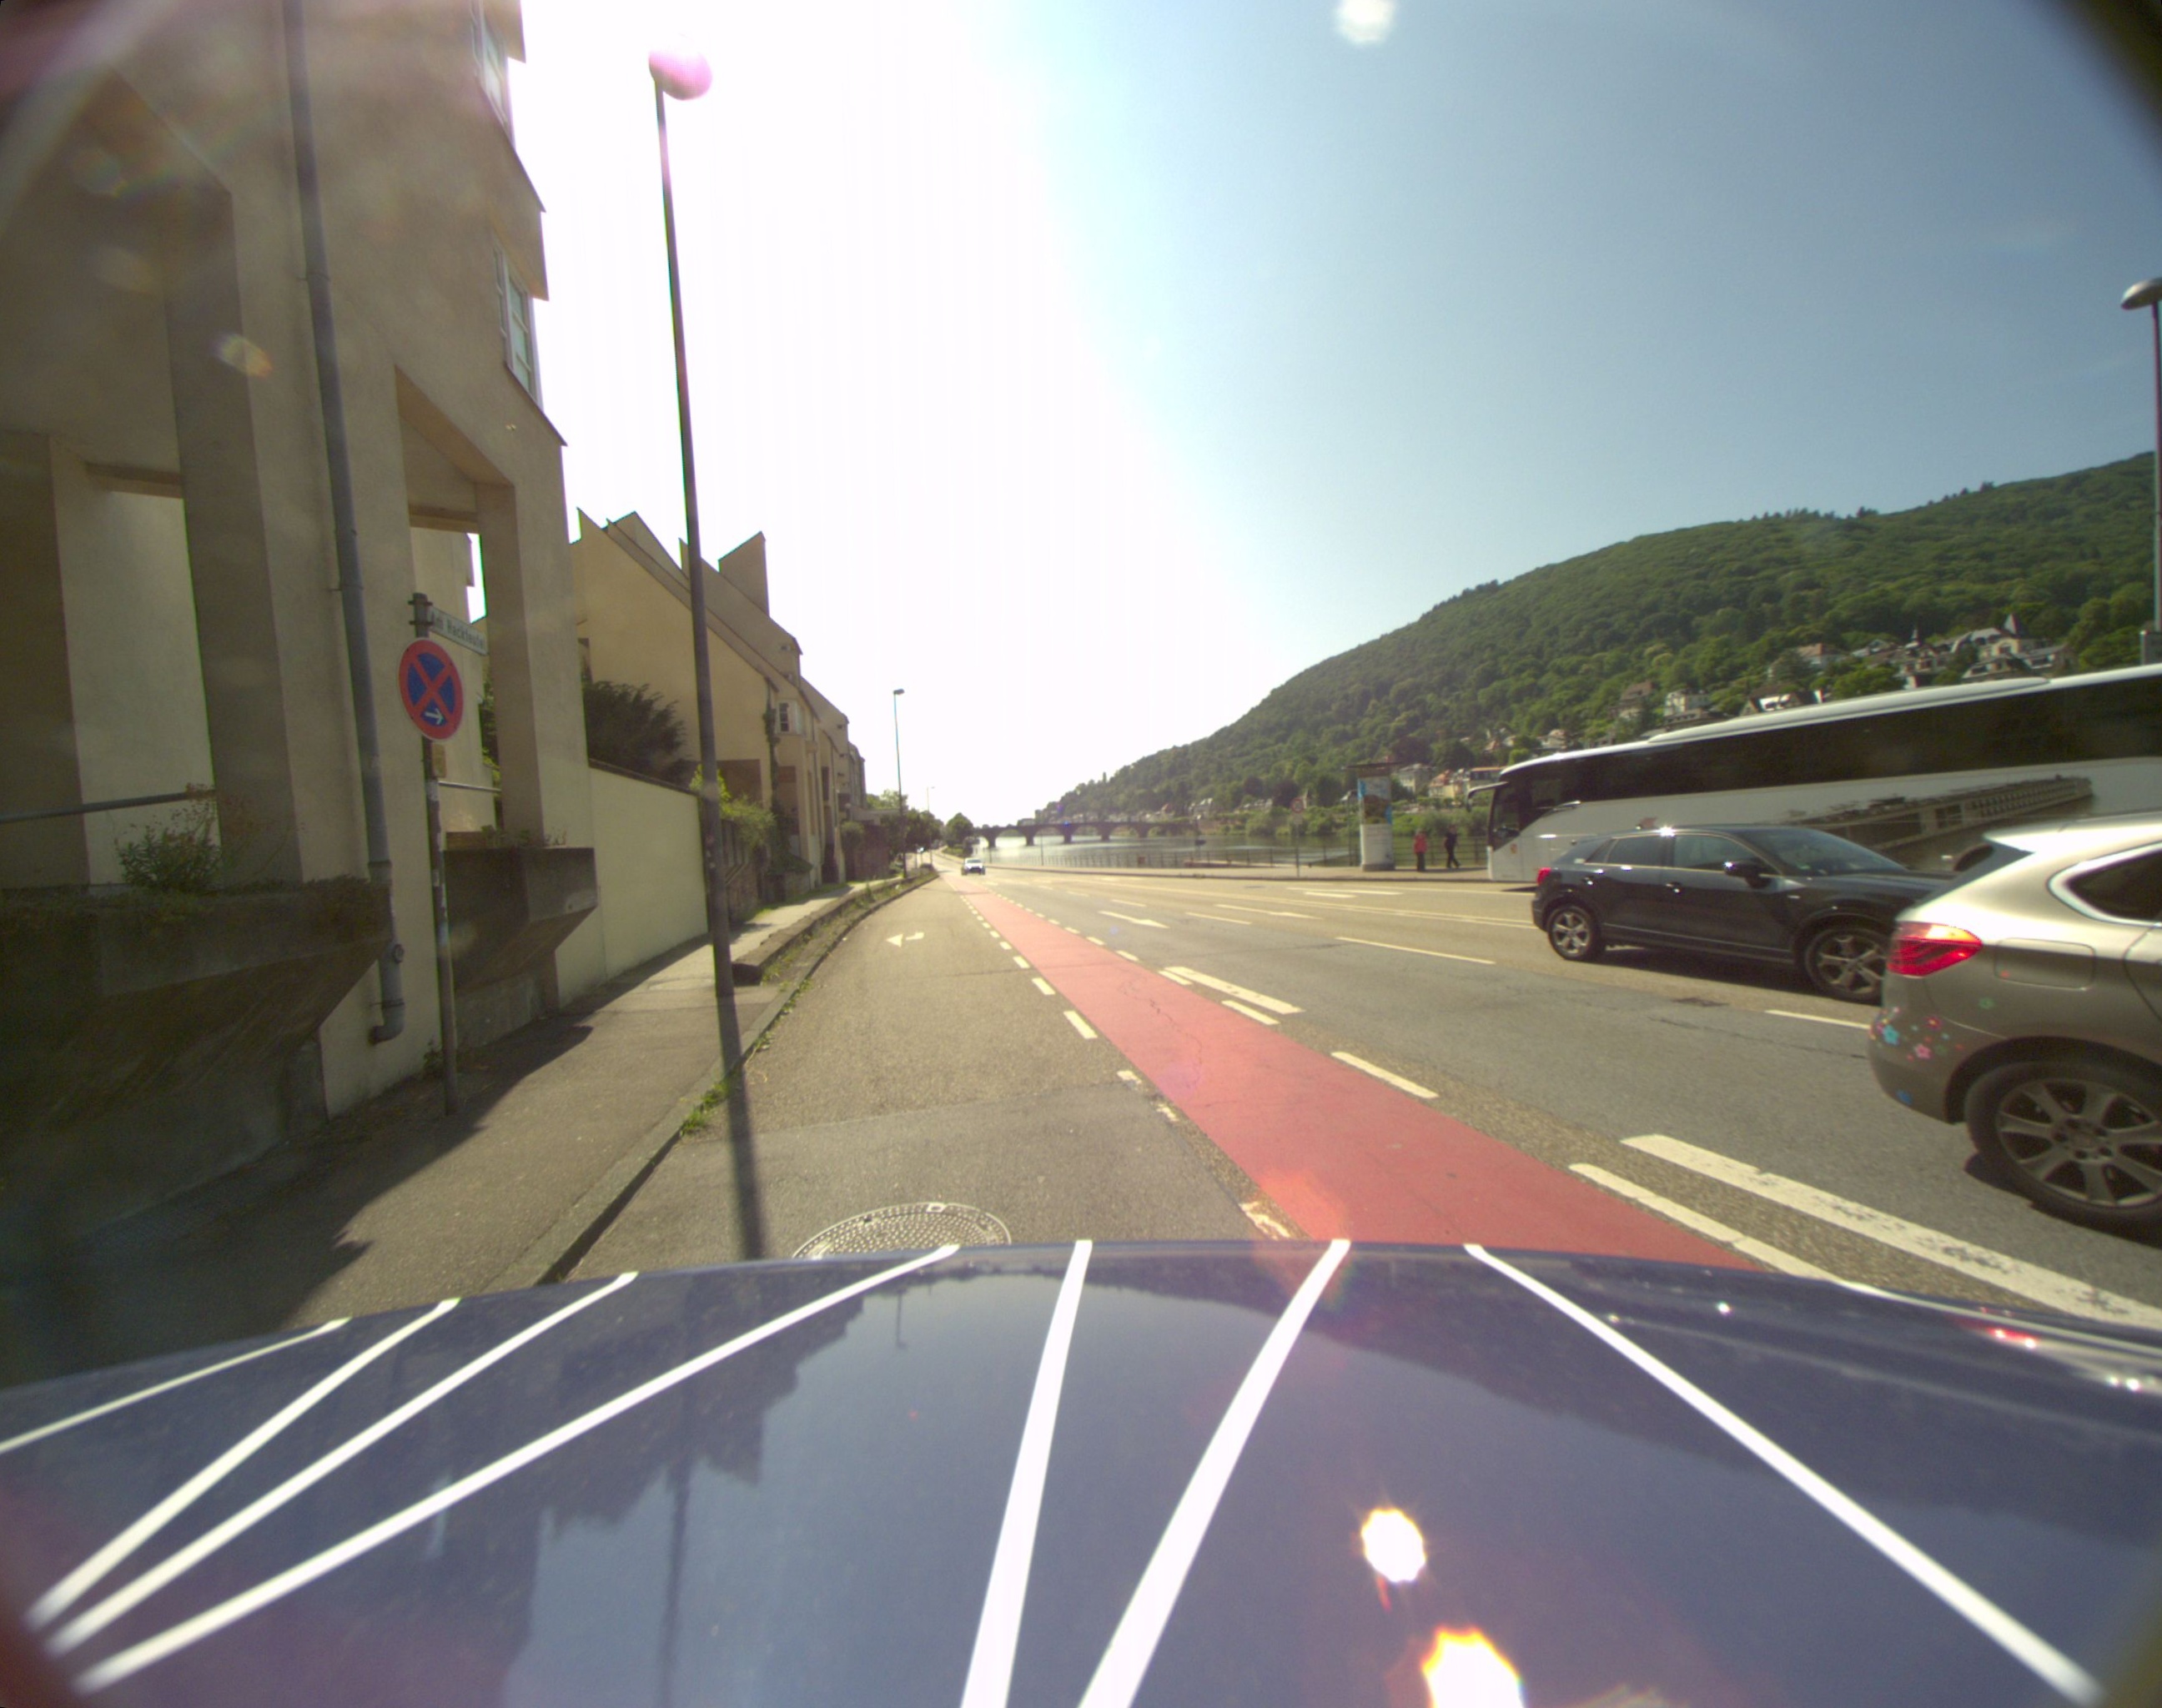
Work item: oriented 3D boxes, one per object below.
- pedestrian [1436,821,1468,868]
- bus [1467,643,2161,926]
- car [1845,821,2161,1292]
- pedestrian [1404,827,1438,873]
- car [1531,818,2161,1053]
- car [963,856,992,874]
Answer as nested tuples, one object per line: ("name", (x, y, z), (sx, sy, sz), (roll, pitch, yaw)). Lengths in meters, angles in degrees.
("pedestrian", (13.808, -0.349, 28.306), (0.686, 1.699, 0.771), (-4, 2, -31))
("bus", (14.277, -1.016, 15.059), (2.968, 3.779, 13.223), (-7, 2, -19))
("car", (4.781, 0.657, 1.457), (1.895, 1.512, 4.300), (-3, 1, -14))
("pedestrian", (12.332, -0.134, 27.544), (0.705, 1.612, 0.815), (-4, 2, -24))
("car", (6.777, 0.509, 7.263), (1.876, 1.505, 4.145), (-3, 1, -13))
("car", (-8.998, 0.936, 65.540), (2.001, 1.434, 3.995), (-2, 1, -14))
